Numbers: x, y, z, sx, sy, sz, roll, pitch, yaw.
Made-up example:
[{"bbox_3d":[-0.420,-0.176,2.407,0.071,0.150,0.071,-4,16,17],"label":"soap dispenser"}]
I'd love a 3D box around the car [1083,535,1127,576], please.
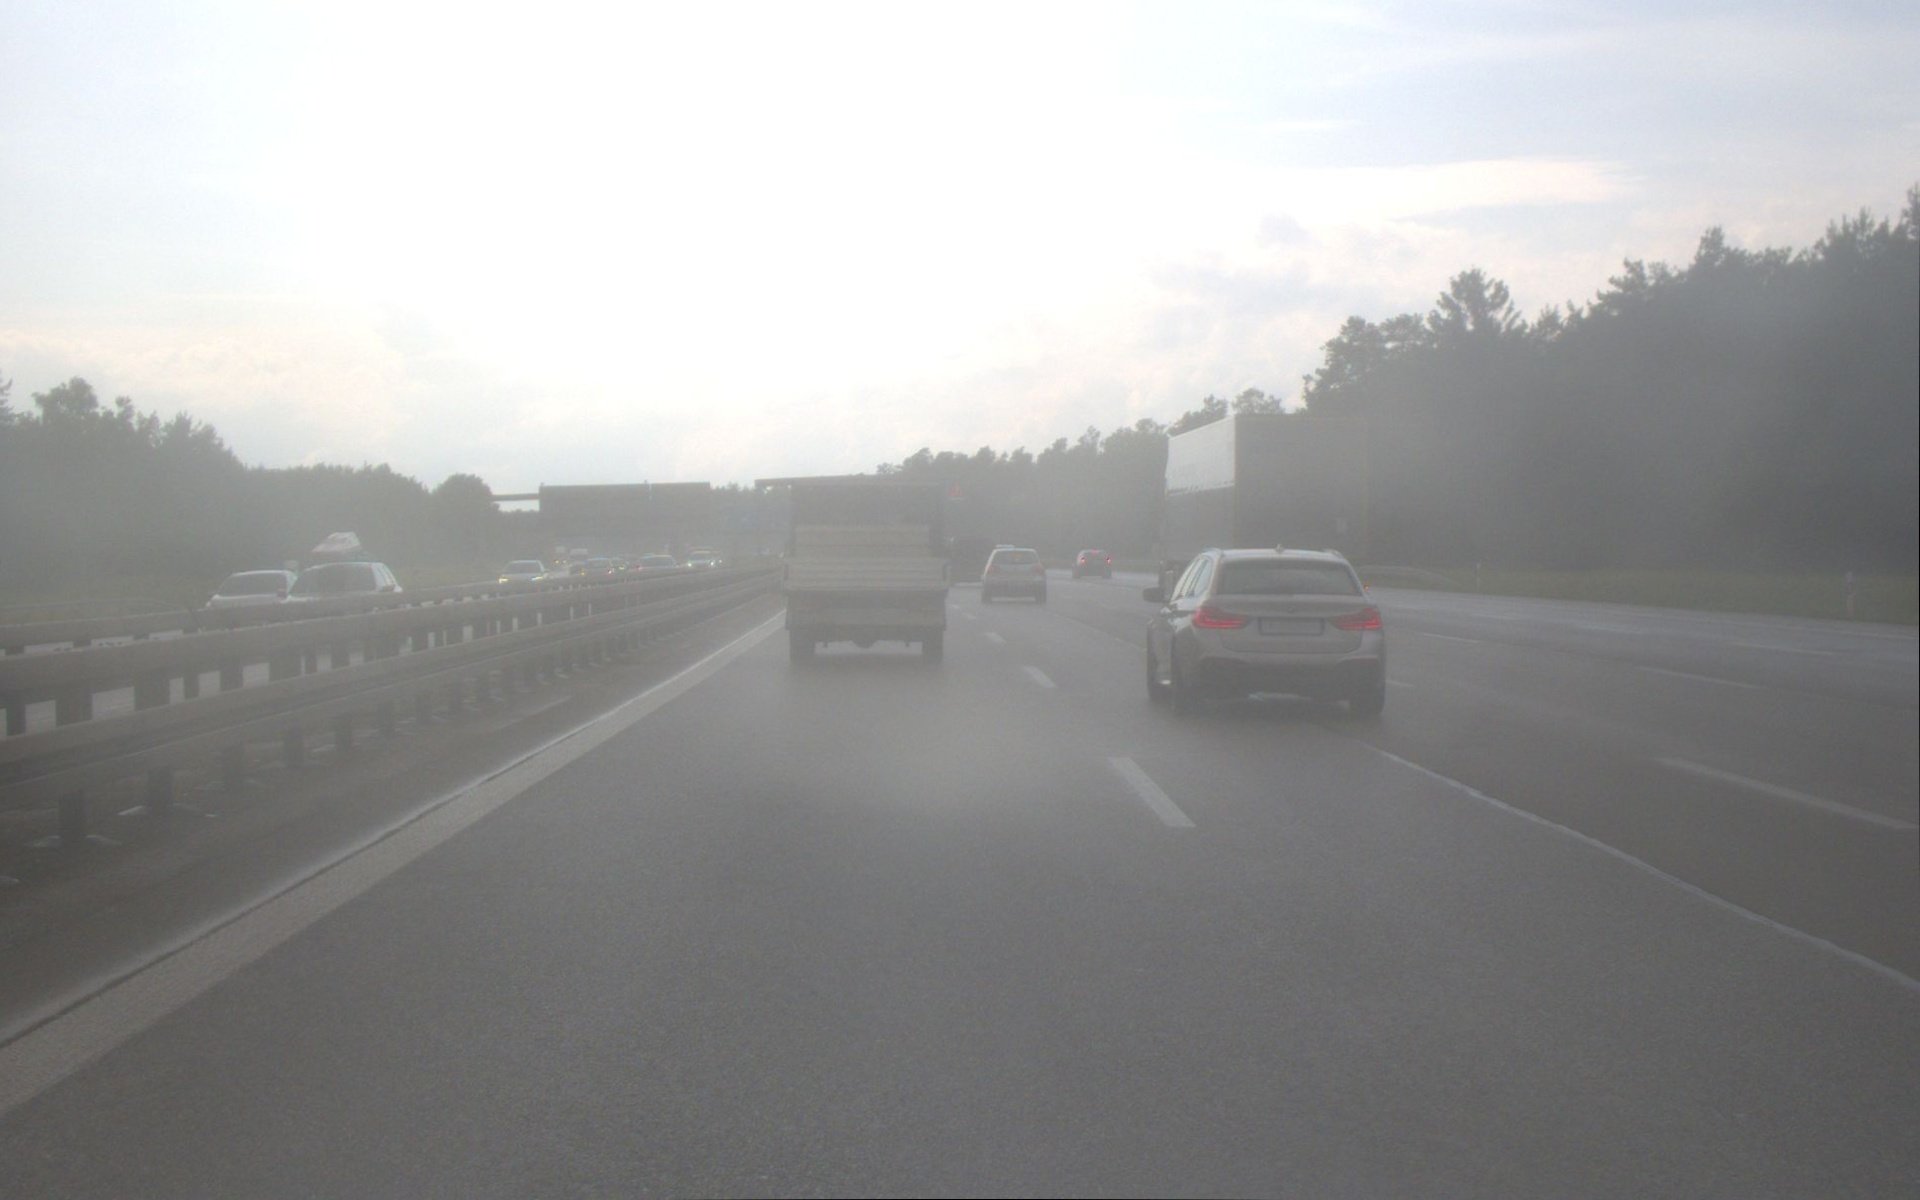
[{"bbox_3d":[7.311,-2.235,173.328,1.993,2.007,4.000,1,1,0],"label":"car"}]

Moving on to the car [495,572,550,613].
[{"bbox_3d":[-16.499,-0.295,129.813,1.728,1.476,4.000,-1,1,-3],"label":"car"}]

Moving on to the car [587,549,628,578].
[{"bbox_3d":[-18.484,-1.915,180.530,1.811,1.417,4.237,-3,1,-2],"label":"car"}]

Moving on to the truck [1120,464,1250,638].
[{"bbox_3d":[5.120,-1.111,78.940,2.293,3.854,5.393,0,1,-4],"label":"truck"}]

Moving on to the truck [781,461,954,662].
[{"bbox_3d":[-1.202,-0.521,45.221,2.137,2.480,5.313,0,1,-1],"label":"truck"}]

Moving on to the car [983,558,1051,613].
[{"bbox_3d":[1.562,-0.411,95.188,1.831,1.461,4.000,0,1,1],"label":"car"}]

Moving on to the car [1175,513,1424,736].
[{"bbox_3d":[3.039,0.166,31.724,2.078,1.878,5.011,0,1,3],"label":"car"}]

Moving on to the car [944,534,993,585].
[{"bbox_3d":[0.327,-1.643,137.775,1.908,2.007,4.000,0,1,-1],"label":"car"}]

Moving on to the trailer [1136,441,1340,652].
[{"bbox_3d":[5.603,-1.100,71.816,2.323,3.988,13.414,0,1,-4],"label":"trailer"}]

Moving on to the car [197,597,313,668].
[{"bbox_3d":[-15.131,0.680,73.971,1.828,1.415,4.574,0,1,-4],"label":"car"}]

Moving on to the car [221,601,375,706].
[{"bbox_3d":[-11.122,0.869,57.989,1.784,1.541,4.403,-3,1,-1],"label":"car"}]
